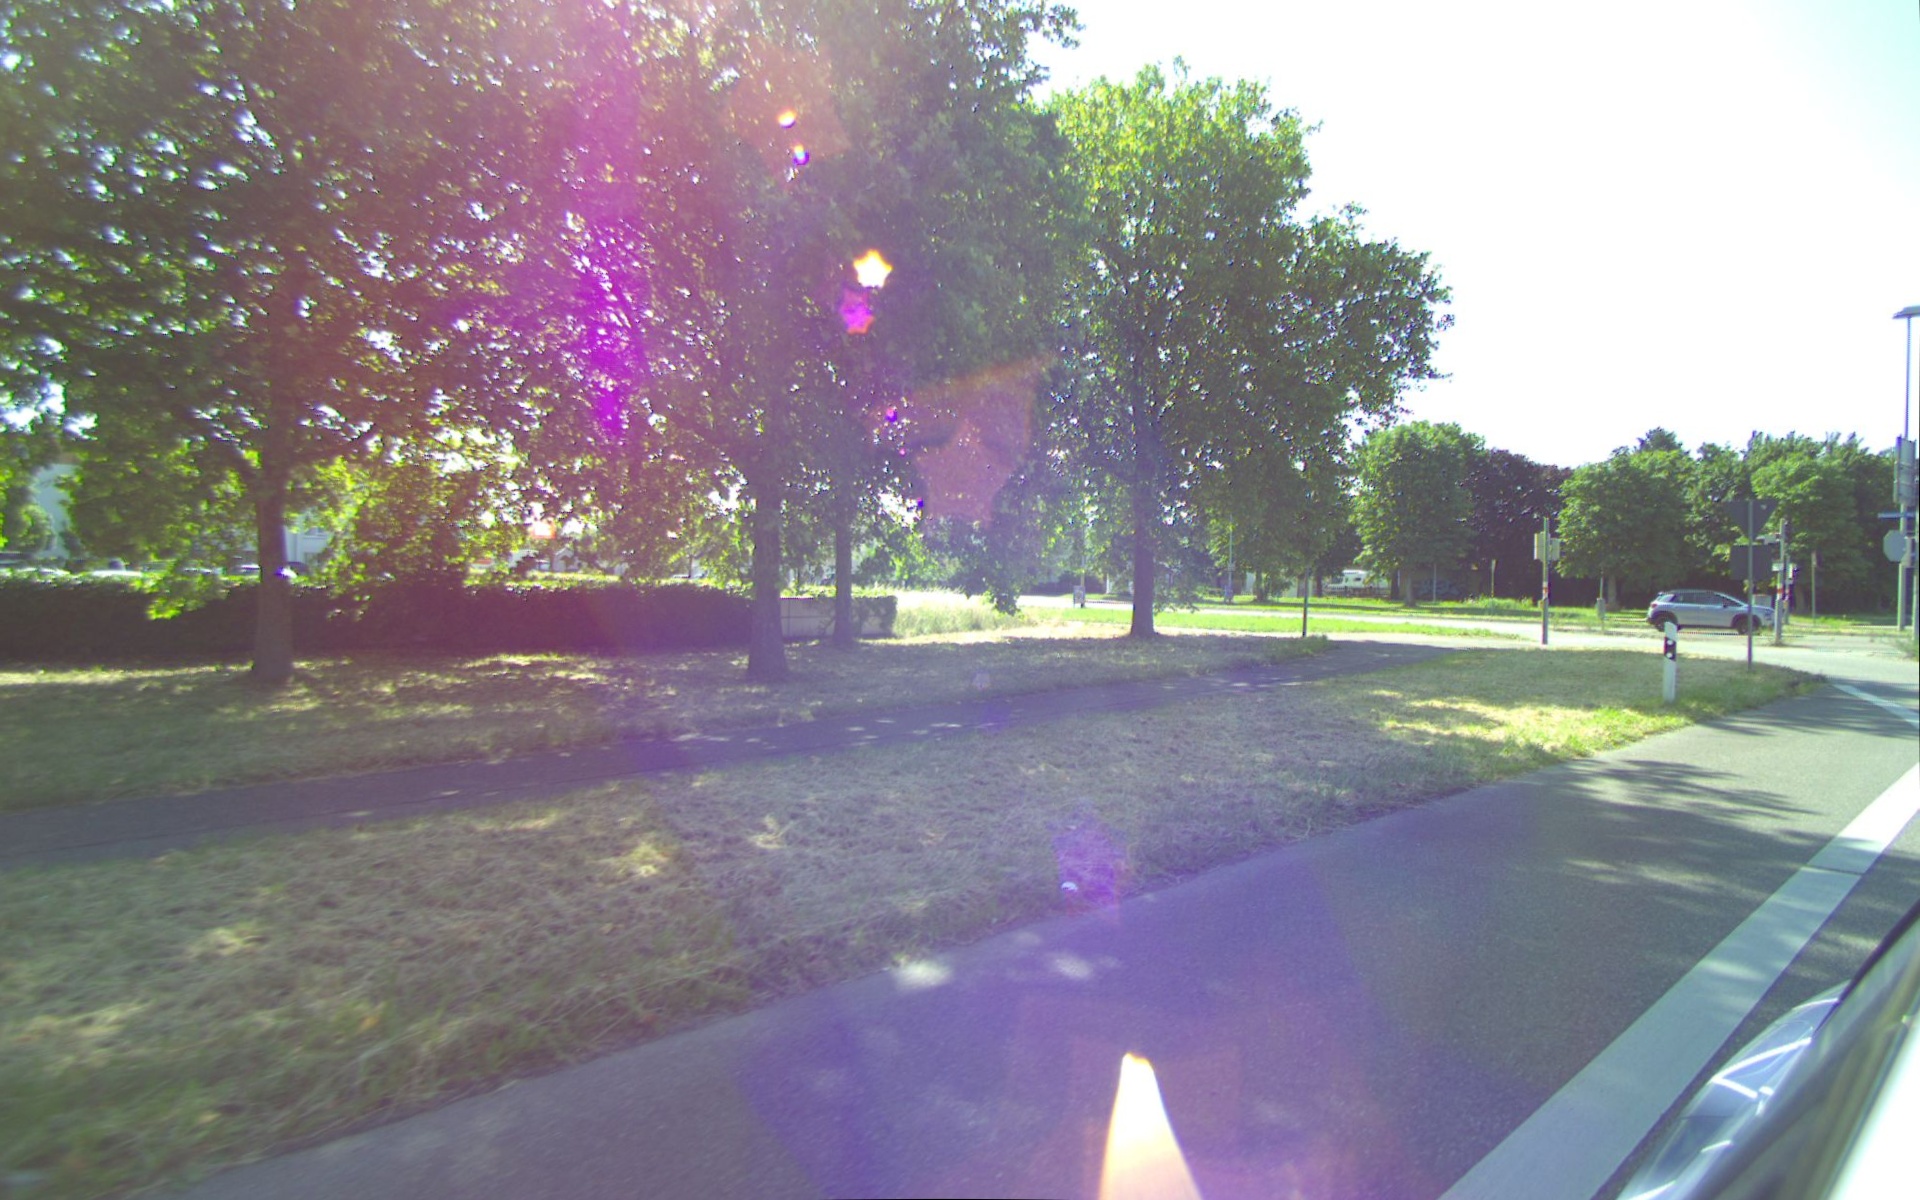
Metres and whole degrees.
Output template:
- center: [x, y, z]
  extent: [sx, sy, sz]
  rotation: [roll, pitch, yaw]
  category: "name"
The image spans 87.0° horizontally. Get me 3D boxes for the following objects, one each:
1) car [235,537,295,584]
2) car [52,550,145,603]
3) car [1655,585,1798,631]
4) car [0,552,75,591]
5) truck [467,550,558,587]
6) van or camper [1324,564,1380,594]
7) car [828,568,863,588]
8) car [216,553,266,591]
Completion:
- center: [-29.707, -1.681, 43.368]
  extent: [1.961, 1.883, 4.003]
  rotation: [0, 2, -33]
  category: "car"
- center: [-30.312, -0.847, 35.719]
  extent: [1.961, 1.749, 4.003]
  rotation: [0, 2, -33]
  category: "car"
- center: [29.047, 0.245, 38.443]
  extent: [1.712, 1.583, 4.059]
  rotation: [0, 2, -41]
  category: "car"
- center: [-44.735, -1.363, 48.468]
  extent: [1.946, 1.772, 4.518]
  rotation: [0, 1, -18]
  category: "car"
- center: [-44.852, -3.137, 101.478]
  extent: [8.112, 3.589, 2.628]
  rotation: [1, 1, 7]
  category: "truck"
- center: [39.170, -2.117, 101.101]
  extent: [1.967, 2.867, 4.805]
  rotation: [0, 2, -43]
  category: "van or camper"
- center: [-11.144, -2.130, 98.068]
  extent: [1.960, 1.812, 4.005]
  rotation: [0, 2, -30]
  category: "car"
- center: [-38.394, -1.514, 54.135]
  extent: [1.961, 1.949, 4.003]
  rotation: [0, 2, -33]
  category: "car"
